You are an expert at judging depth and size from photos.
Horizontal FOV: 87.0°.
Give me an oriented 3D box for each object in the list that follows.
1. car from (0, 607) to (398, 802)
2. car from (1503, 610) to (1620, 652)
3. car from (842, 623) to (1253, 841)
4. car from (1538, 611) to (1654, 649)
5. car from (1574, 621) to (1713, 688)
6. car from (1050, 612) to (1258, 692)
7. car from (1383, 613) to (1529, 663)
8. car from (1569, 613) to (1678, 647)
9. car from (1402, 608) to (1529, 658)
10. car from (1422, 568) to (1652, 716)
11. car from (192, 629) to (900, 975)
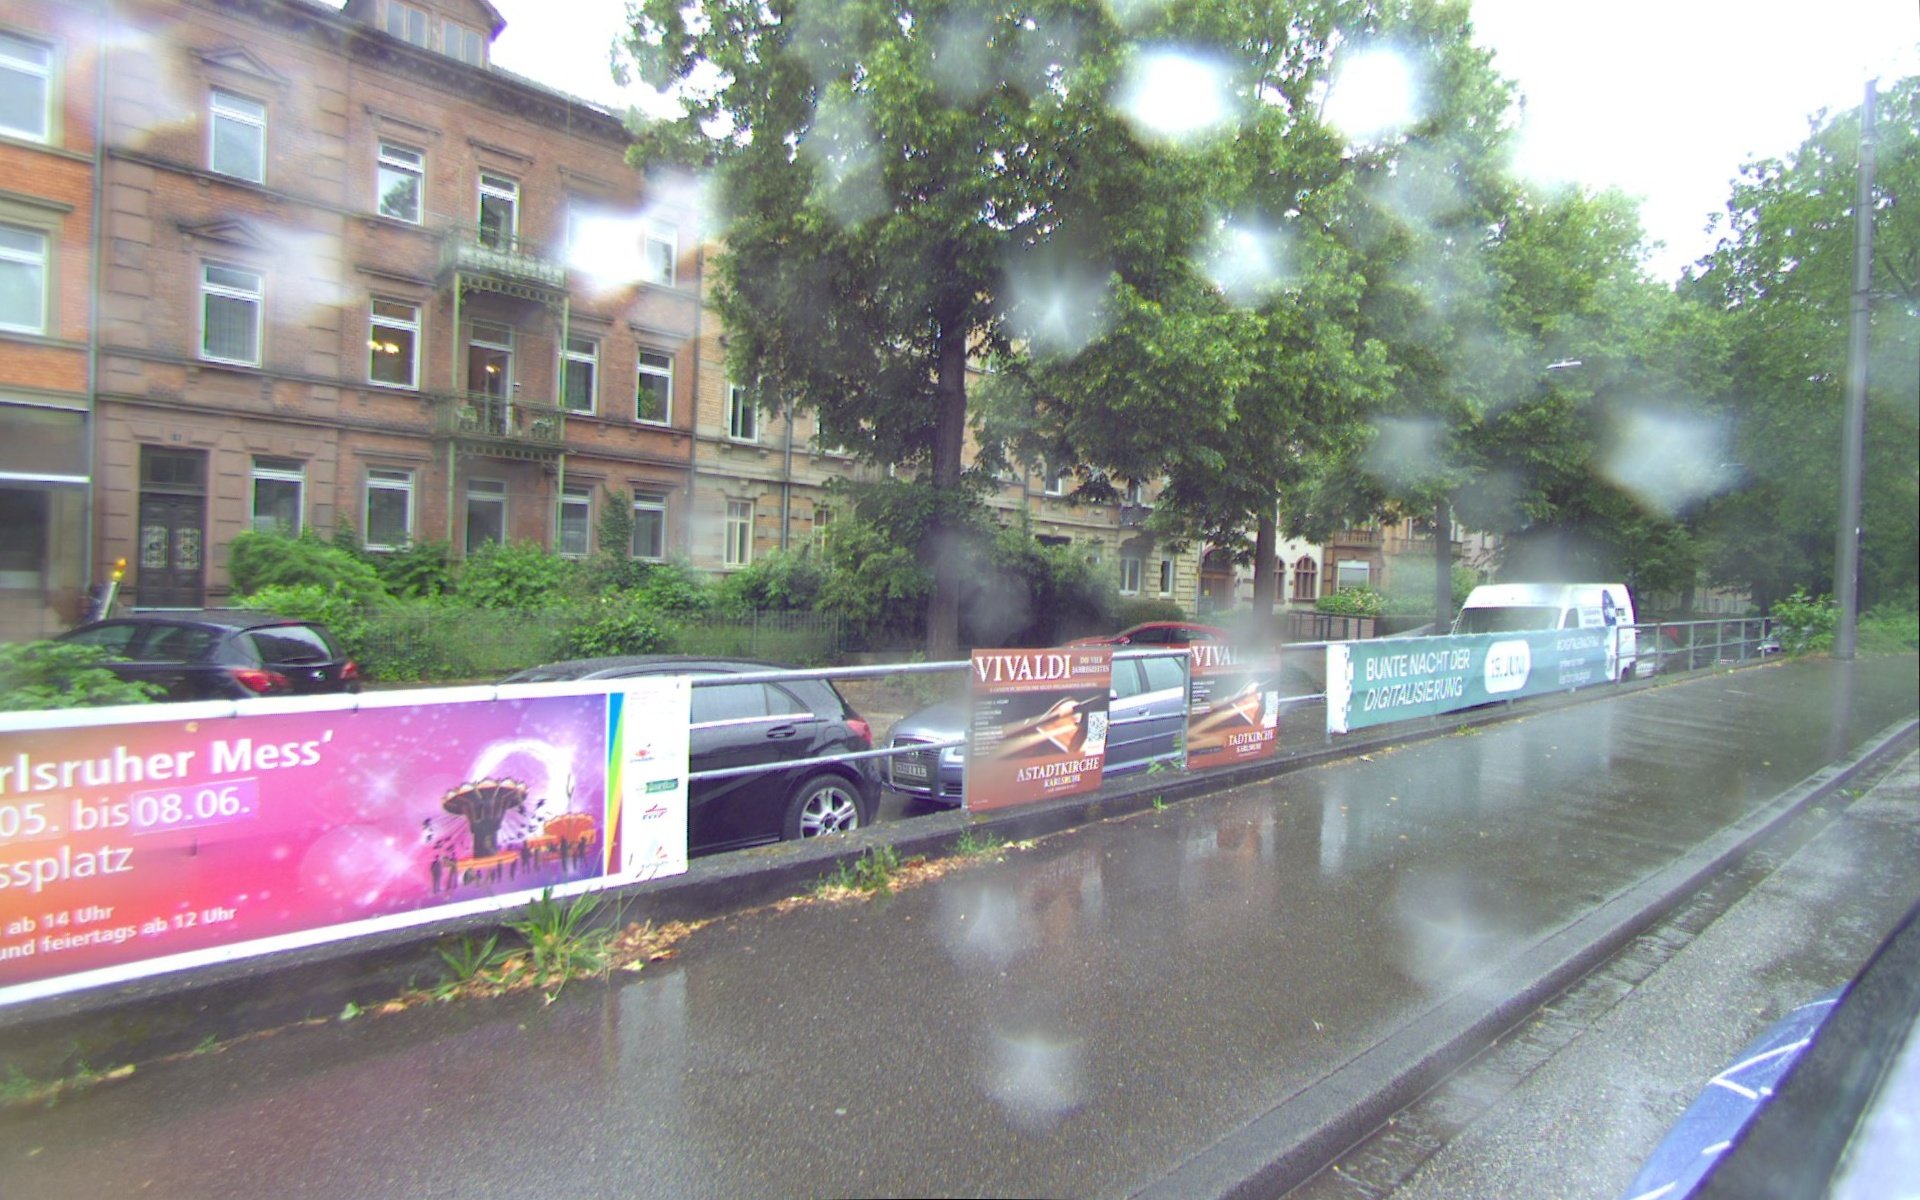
[{"bbox_3d":[-8.444,0.983,11.203,3.959,1.735,1.983,1,1,26],"label":"car"},{"bbox_3d":[25.584,1.289,43.175,3.947,1.629,1.815,1,1,19],"label":"car"},{"bbox_3d":[0.988,1.061,9.779,4.006,1.559,1.734,0,0,-43],"label":"car"},{"bbox_3d":[28.408,1.310,45.319,3.942,1.585,1.991,0,1,15],"label":"car"},{"bbox_3d":[16.547,1.245,24.412,4.312,1.370,1.968,0,0,-44],"label":"car"},{"bbox_3d":[4.383,1.099,22.734,4.372,1.471,1.888,2,1,18],"label":"car"},{"bbox_3d":[16.504,1.237,33.894,4.214,1.397,1.679,2,2,22],"label":"car"},{"bbox_3d":[31.877,1.427,48.711,3.942,1.482,1.904,0,1,15],"label":"car"},{"bbox_3d":[17.904,1.146,36.038,3.958,1.523,1.645,2,2,25],"label":"car"},{"bbox_3d":[11.357,0.689,19.670,6.055,2.451,2.211,0,0,-43],"label":"car"},{"bbox_3d":[-2.451,0.971,6.525,3.903,1.417,1.706,0,1,-41],"label":"car"}]
